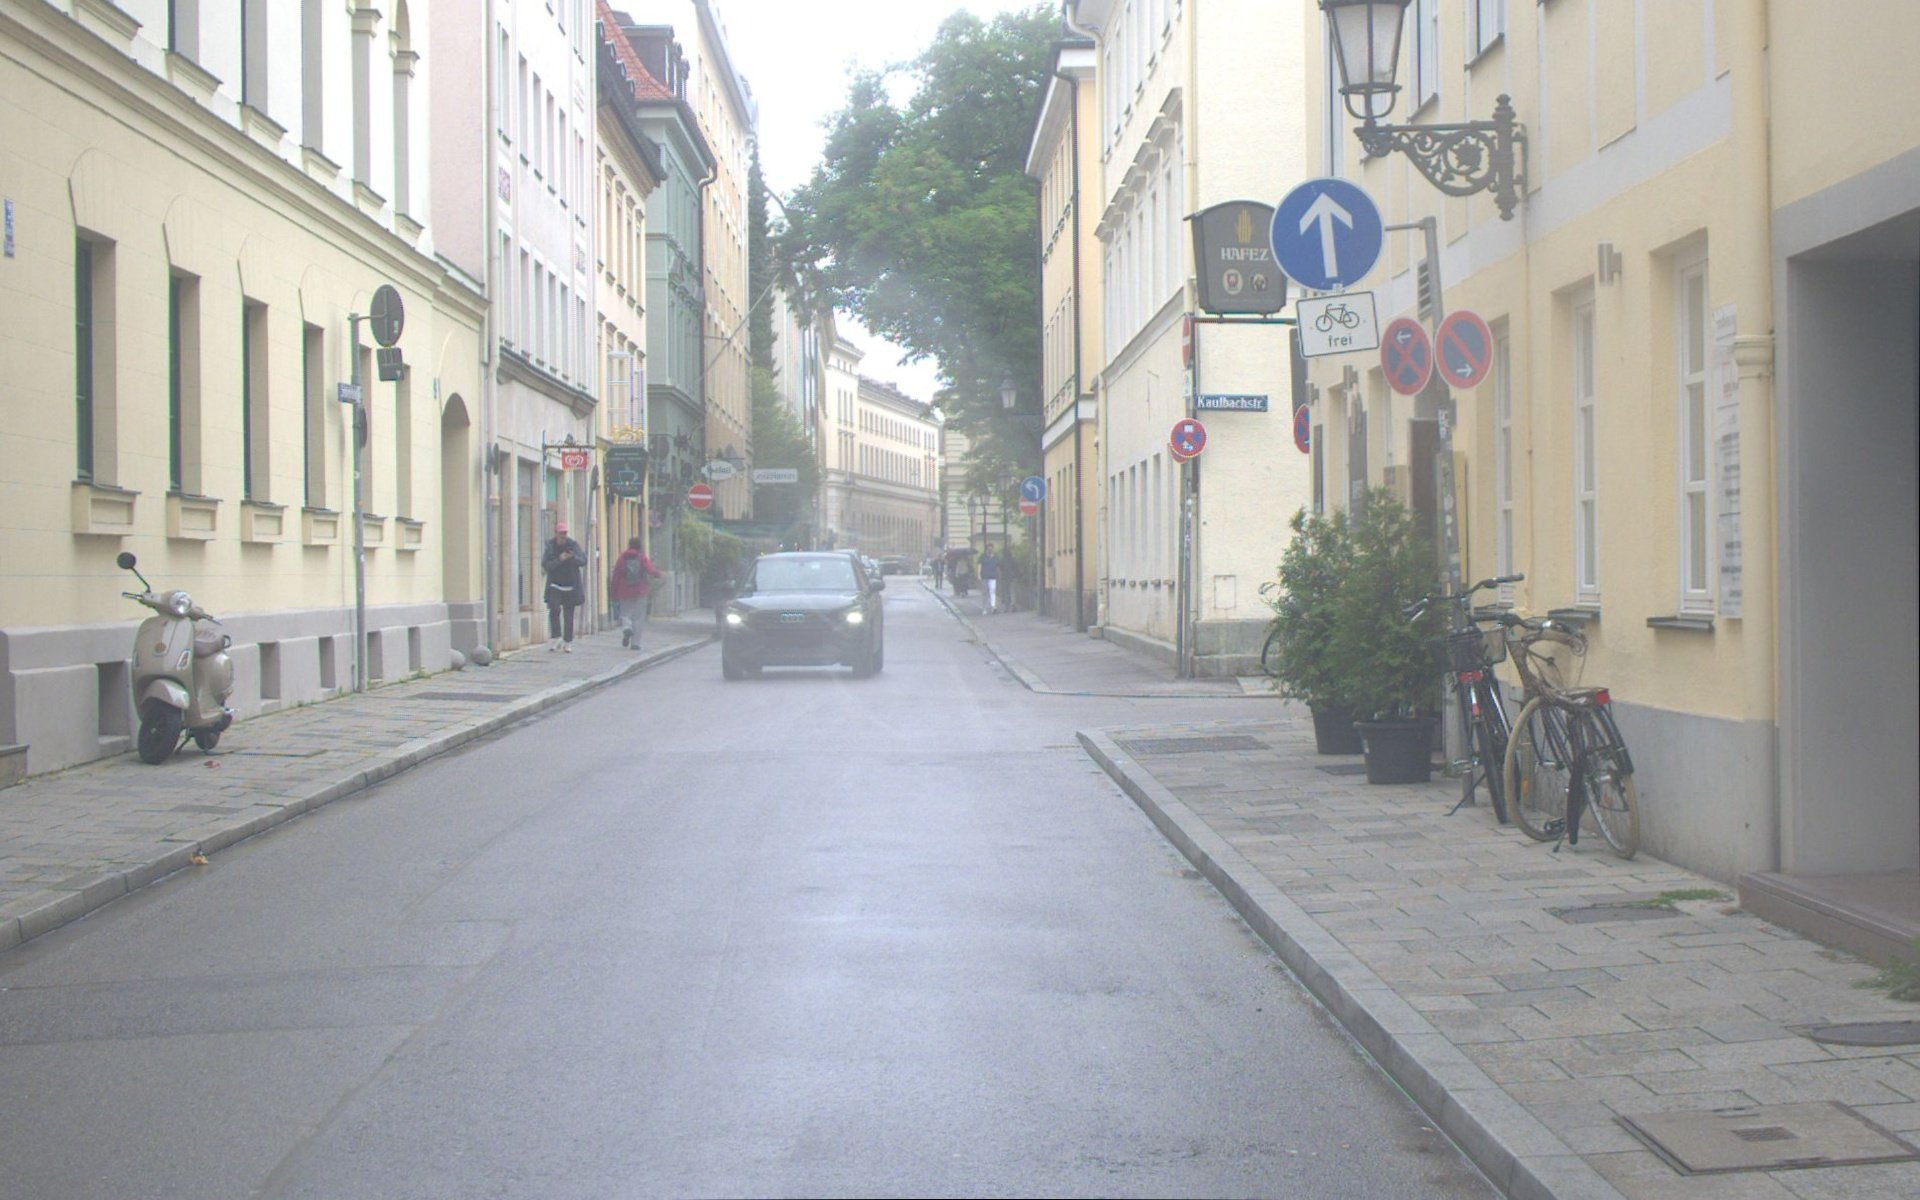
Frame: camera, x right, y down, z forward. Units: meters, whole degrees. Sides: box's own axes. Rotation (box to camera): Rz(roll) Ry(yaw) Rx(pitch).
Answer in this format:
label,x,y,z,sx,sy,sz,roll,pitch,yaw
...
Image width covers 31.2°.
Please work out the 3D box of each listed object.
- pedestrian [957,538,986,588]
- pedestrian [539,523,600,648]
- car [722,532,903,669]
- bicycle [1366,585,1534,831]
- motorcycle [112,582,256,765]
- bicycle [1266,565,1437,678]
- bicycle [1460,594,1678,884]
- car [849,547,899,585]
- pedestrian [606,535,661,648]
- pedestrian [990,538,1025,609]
label,x,y,z,sx,sy,sz,roll,pitch,yaw
pedestrian,0.400,-1.322,122.512,1.015,1.796,1.349,0,1,0
pedestrian,-5.580,-0.215,49.173,0.809,1.749,0.990,0,2,-3
car,-1.751,-0.029,42.058,1.812,1.588,4.000,0,1,3
bicycle,2.448,0.514,17.324,0.565,1.133,1.684,-3,1,0
motorcycle,-5.229,0.475,23.243,0.602,1.170,1.709,0,1,0
bicycle,4.213,0.228,37.044,1.757,1.140,0.586,-1,3,0
bicycle,2.646,0.569,15.105,0.565,1.133,1.988,-3,1,0
car,-3.400,-1.367,136.243,1.779,1.461,3.542,1,1,2
pedestrian,-4.970,-0.136,52.379,0.765,1.702,0.785,-1,1,-3
pedestrian,1.214,-0.677,88.009,0.880,1.796,1.046,0,1,0
